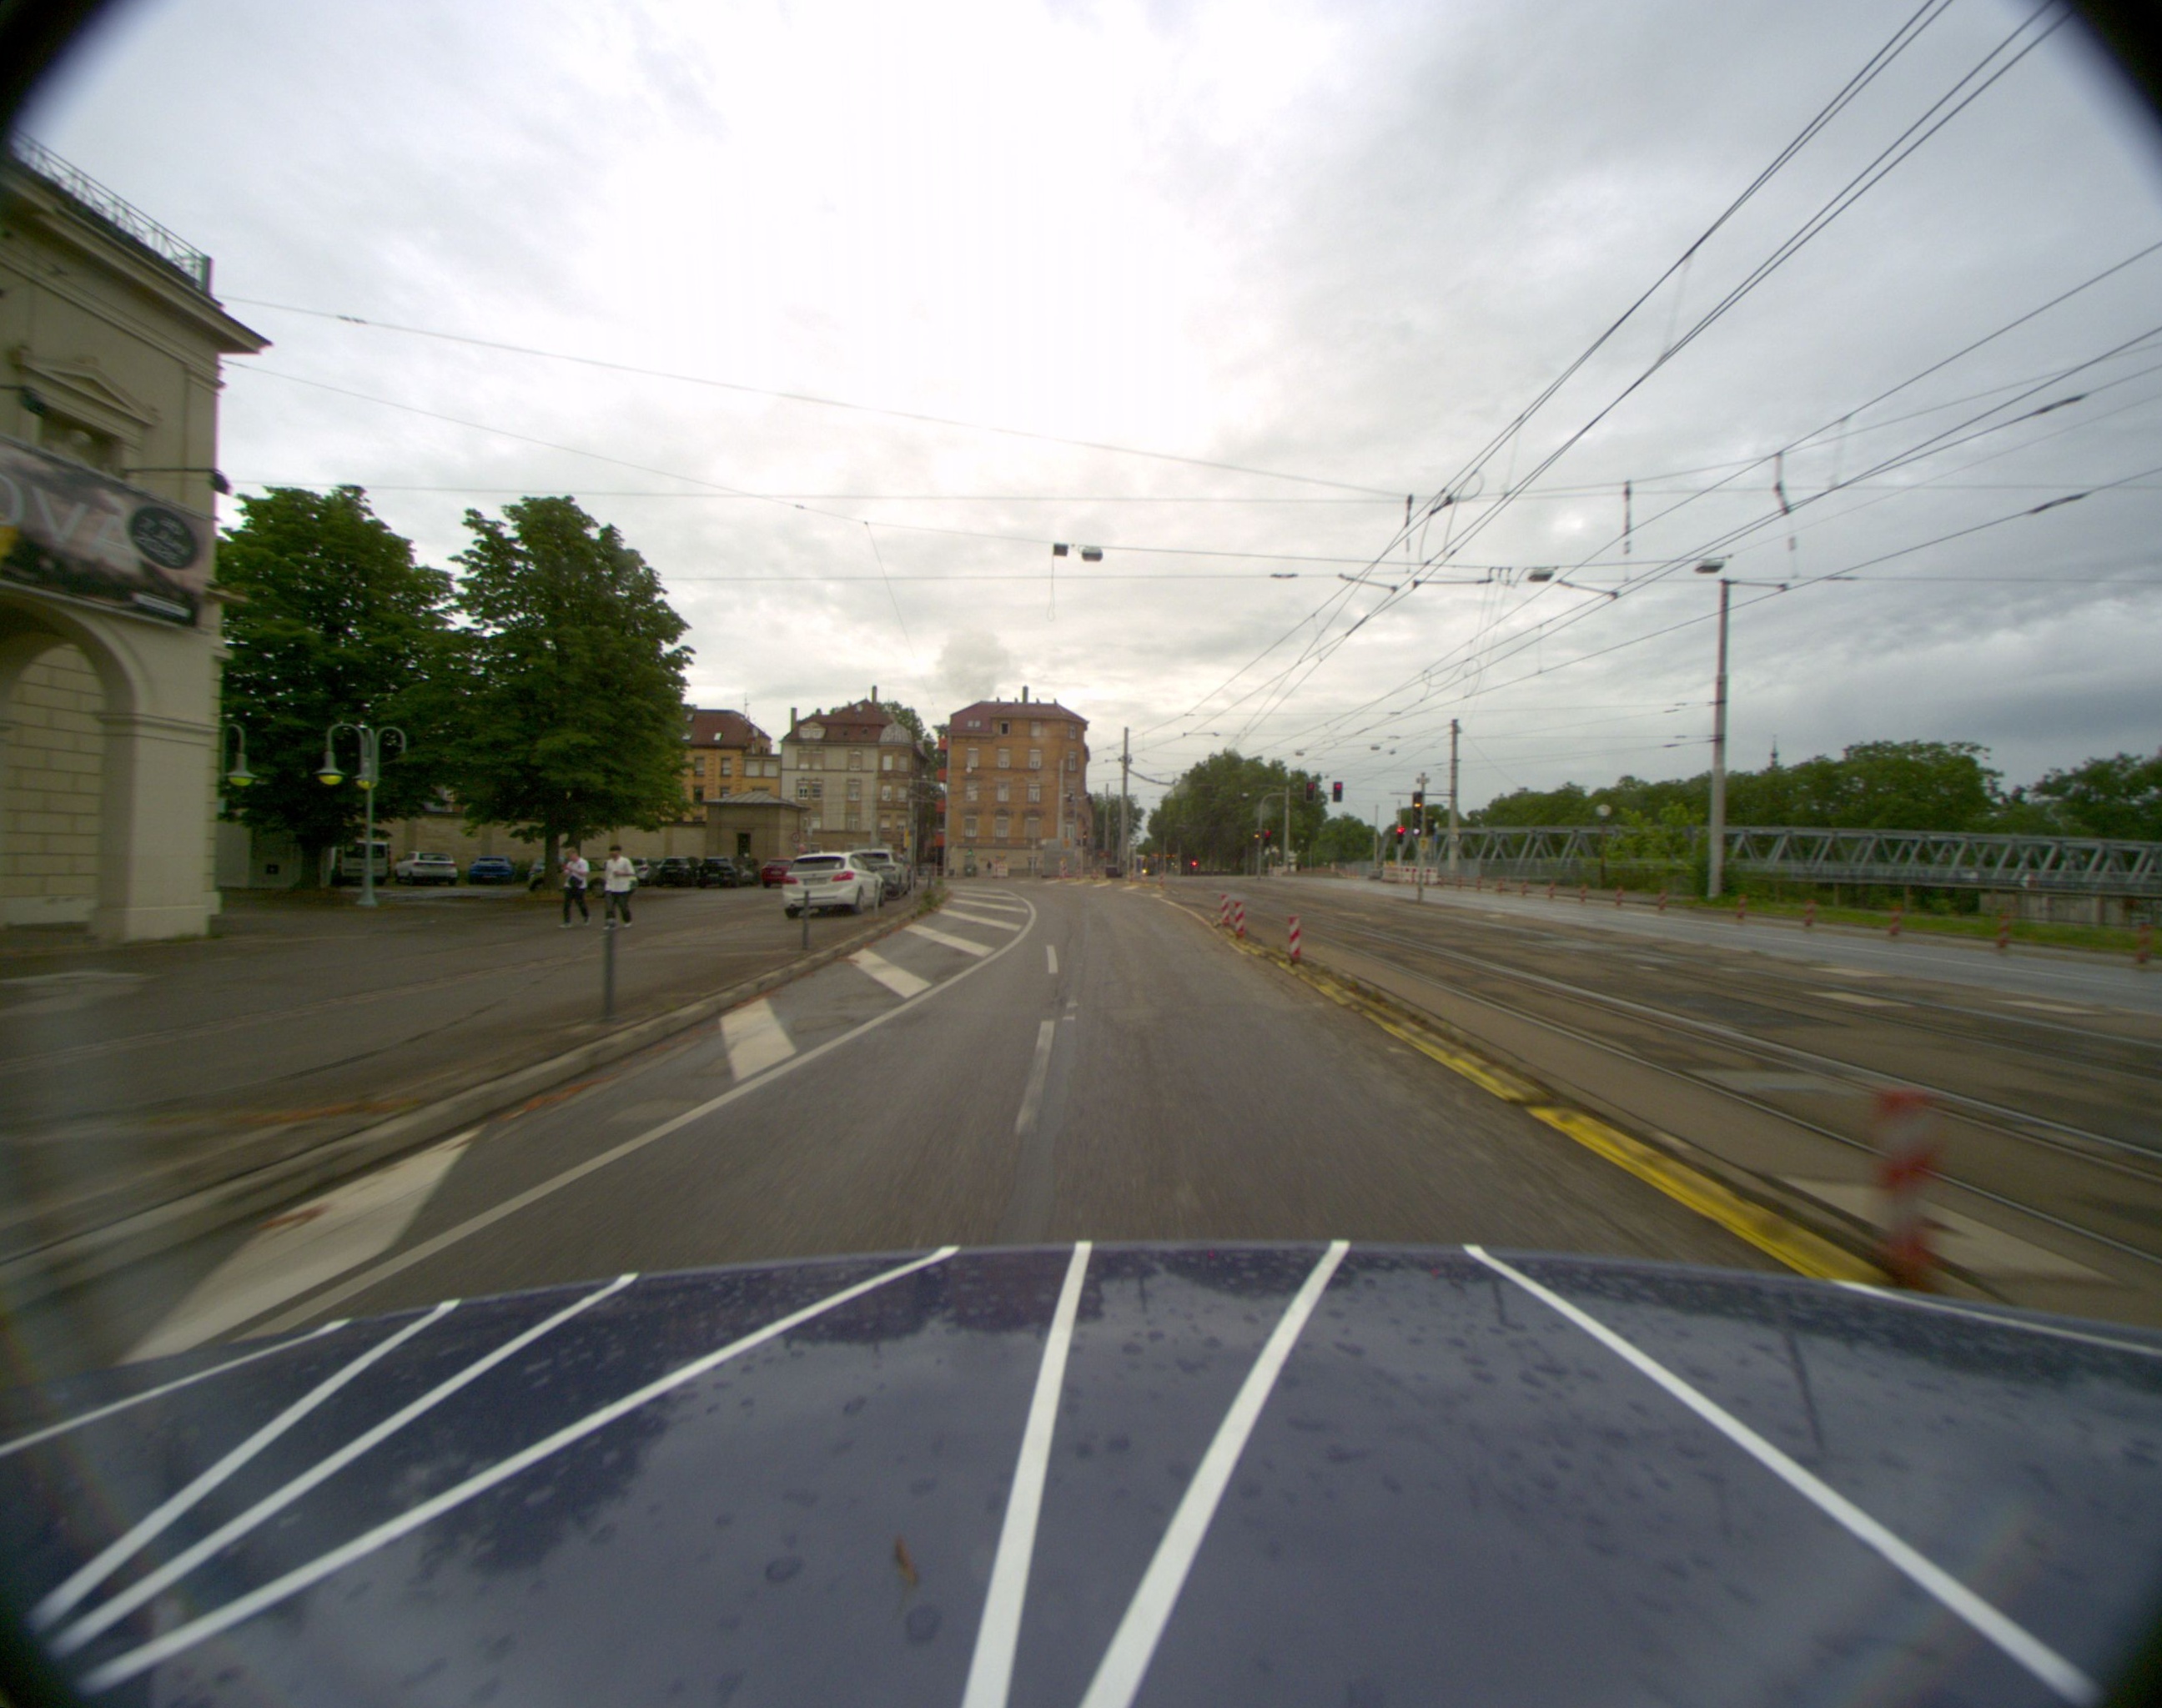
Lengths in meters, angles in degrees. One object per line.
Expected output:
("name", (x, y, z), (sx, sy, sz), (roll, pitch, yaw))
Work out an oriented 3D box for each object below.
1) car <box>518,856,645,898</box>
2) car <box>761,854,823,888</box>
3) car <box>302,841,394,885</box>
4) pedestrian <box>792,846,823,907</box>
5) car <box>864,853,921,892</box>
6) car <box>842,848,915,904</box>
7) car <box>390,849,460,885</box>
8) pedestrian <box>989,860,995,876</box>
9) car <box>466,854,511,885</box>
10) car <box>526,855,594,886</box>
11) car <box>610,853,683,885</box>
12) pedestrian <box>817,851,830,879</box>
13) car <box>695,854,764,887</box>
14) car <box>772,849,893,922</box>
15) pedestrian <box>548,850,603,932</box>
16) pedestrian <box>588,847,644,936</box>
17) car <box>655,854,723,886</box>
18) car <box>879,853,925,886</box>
("car", (-18.964, 0.837, 28.943), (3.742, 1.460, 1.729), (1, 1, 4))
("car", (-14.535, 0.807, 38.450), (1.831, 1.573, 3.998), (1, 0, -4))
("car", (-32.674, 0.373, 33.858), (3.989, 1.826, 1.835), (1, 1, 29))
("pedestrian", (-8.197, 0.651, 22.825), (0.698, 1.796, 0.781), (-1, 1, -8))
("car", (-7.761, 0.714, 31.562), (1.844, 1.455, 4.139), (-2, 0, -8))
("car", (-6.663, 0.642, 25.335), (1.721, 1.630, 4.139), (-2, 1, -7))
("car", (-31.062, 0.587, 35.947), (3.988, 1.573, 1.686), (2, 1, 37))
("pedestrian", (-9.207, 1.456, 78.791), (0.512, 1.644, 0.534), (1, 1, 0))
("car", (-29.685, 0.734, 38.072), (1.707, 1.387, 3.988), (1, 1, -38))
("car", (-26.622, 0.803, 38.972), (1.724, 1.434, 3.993), (1, 0, -17))
("car", (-22.678, 0.739, 39.800), (1.831, 1.573, 3.997), (1, 0, -6))
("pedestrian", (-16.024, 0.667, 47.292), (0.451, 1.731, 0.712), (1, 1, 13))
("car", (-17.747, 0.808, 38.574), (1.864, 1.539, 4.064), (0, 0, -5))
("car", (-6.268, 0.717, 19.686), (1.844, 1.630, 4.141), (-2, 0, -3))
("pedestrian", (-10.389, 0.750, 15.650), (0.629, 1.635, 0.780), (1, 1, -5))
("pedestrian", (-9.320, 0.737, 15.245), (0.595, 1.726, 0.839), (1, 1, 0))
("car", (-20.221, 0.793, 39.401), (1.682, 1.488, 3.998), (1, 0, -4))
("car", (-8.786, 0.738, 37.579), (1.844, 1.455, 4.140), (-2, 0, -8))
